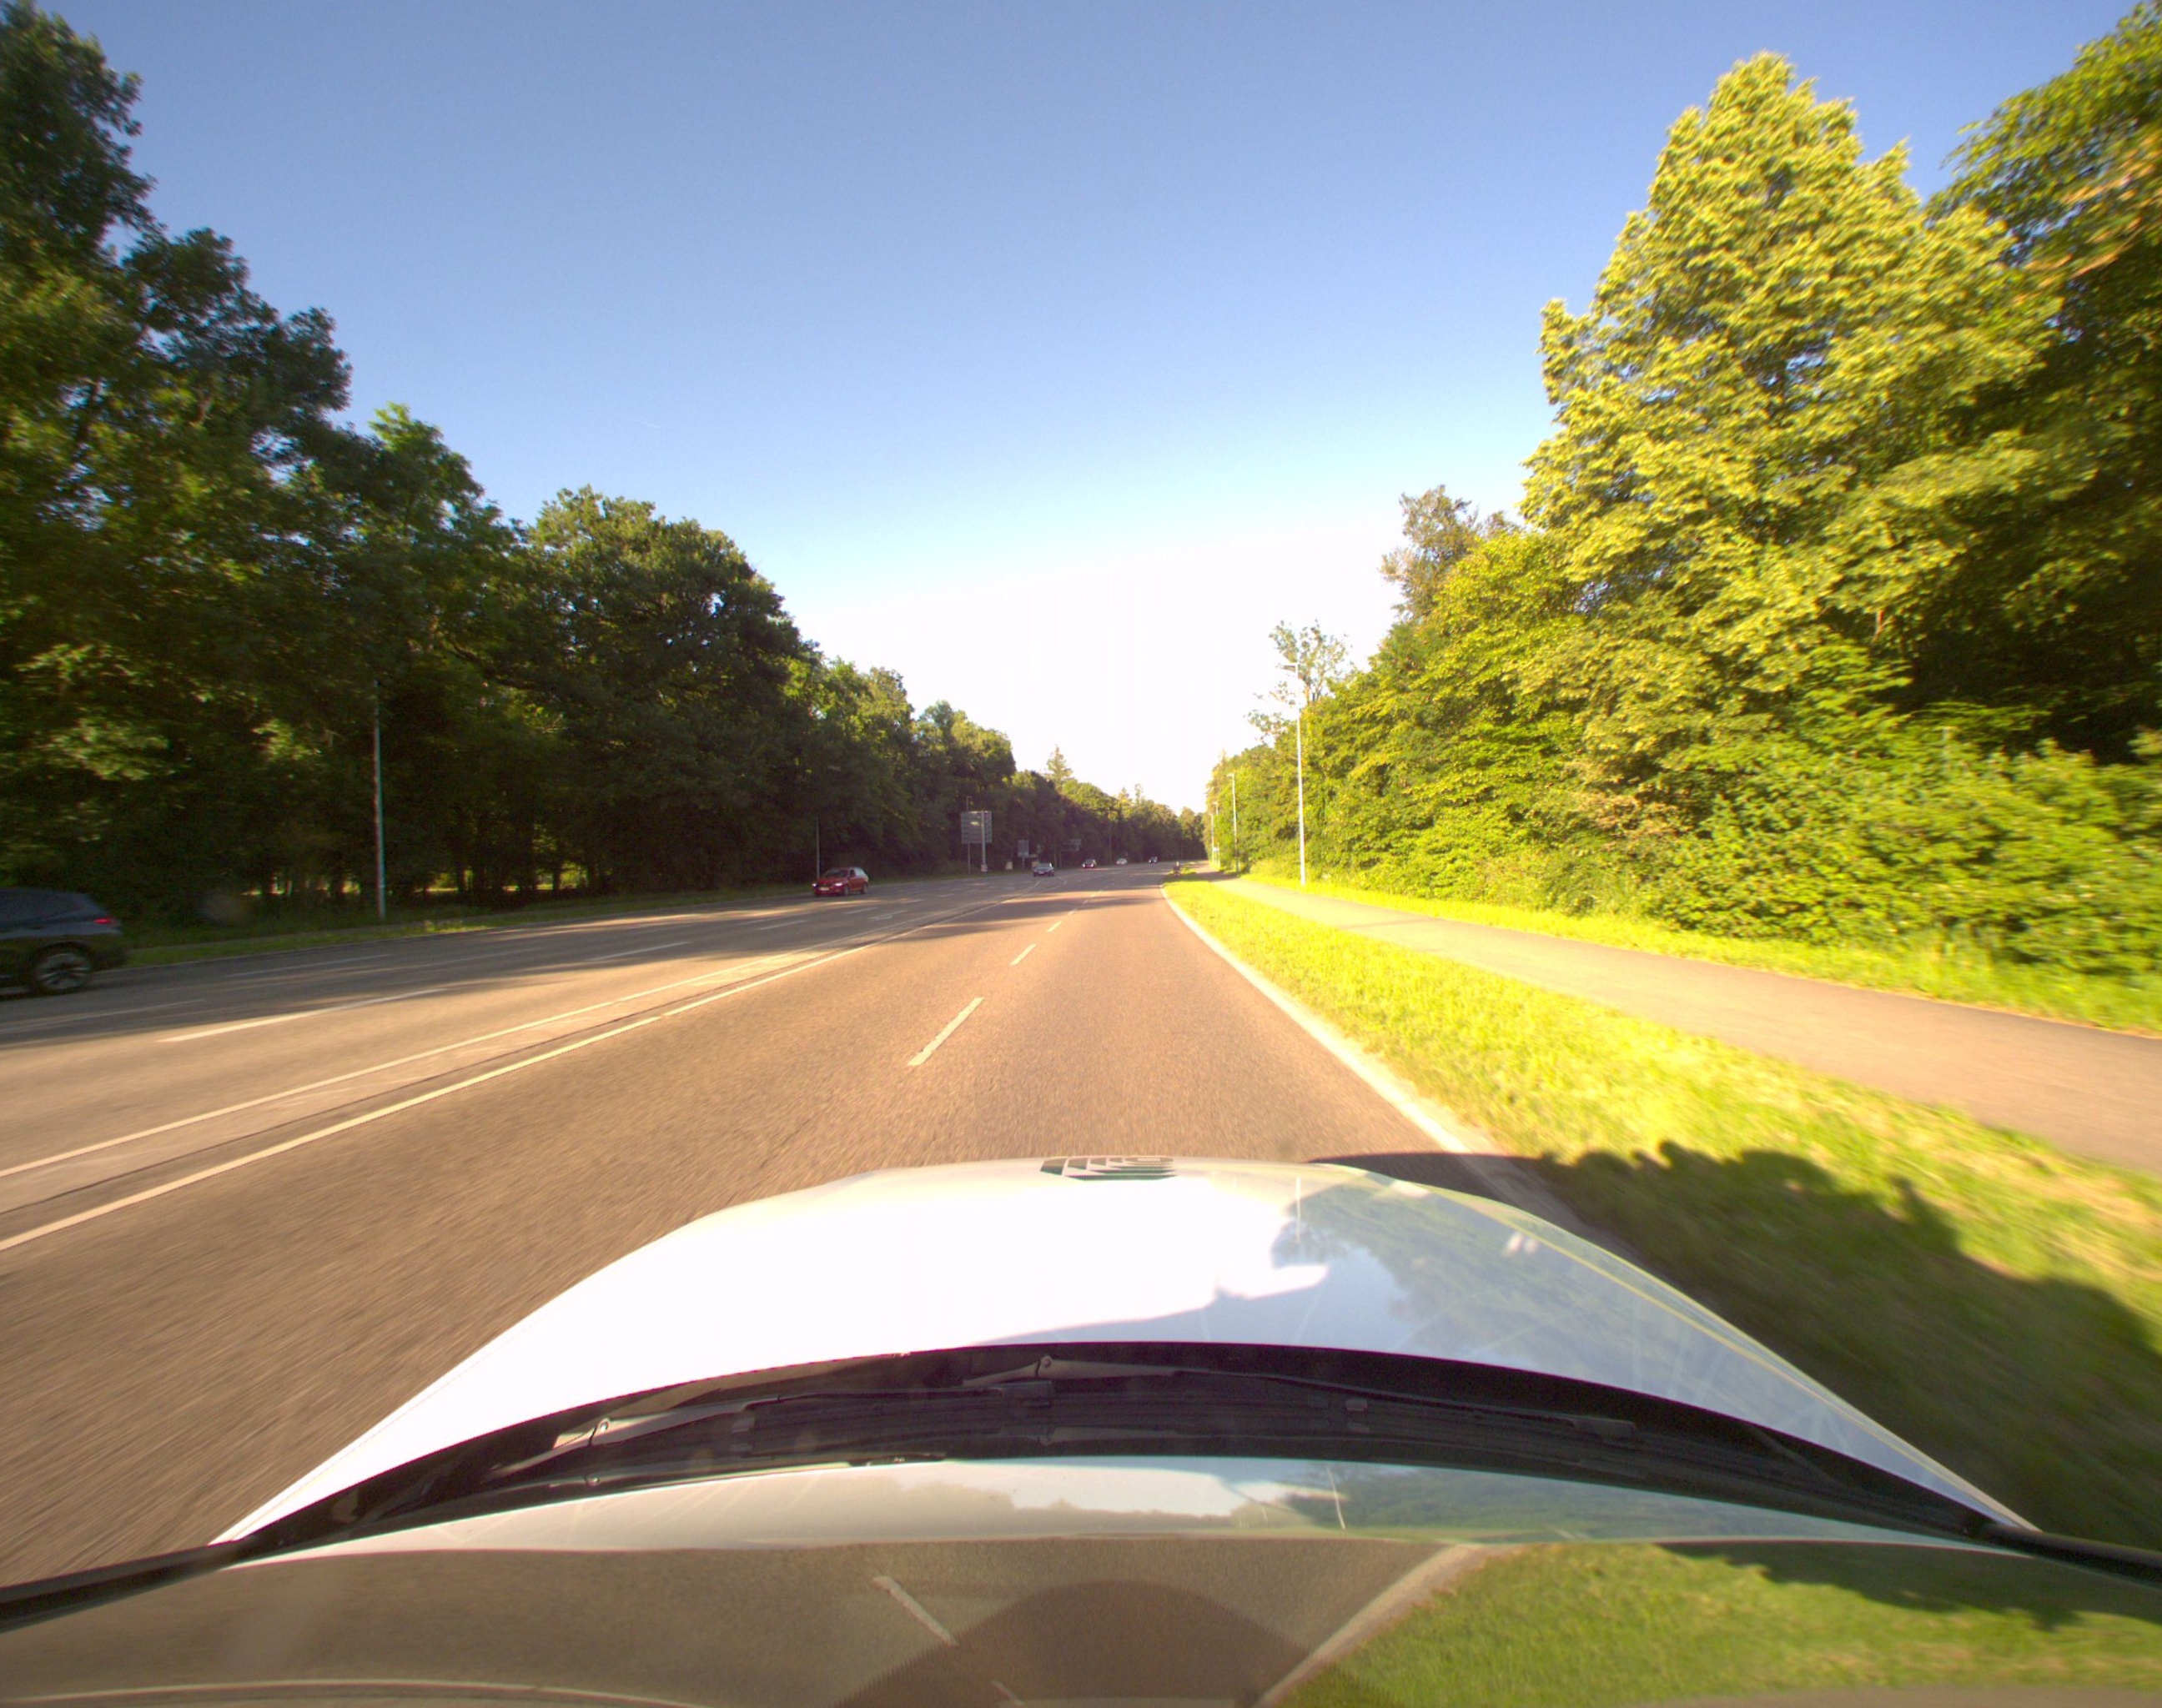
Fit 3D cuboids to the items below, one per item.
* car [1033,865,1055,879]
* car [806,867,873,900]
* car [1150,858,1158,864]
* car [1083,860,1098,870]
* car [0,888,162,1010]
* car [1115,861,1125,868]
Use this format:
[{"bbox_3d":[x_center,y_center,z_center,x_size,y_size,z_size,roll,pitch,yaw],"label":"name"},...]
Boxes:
[{"bbox_3d":[-3.660,1.797,81.505,1.736,1.234,4.677,-2,0,3],"label":"car"},{"bbox_3d":[-12.664,1.529,43.004,1.985,1.564,4.342,-2,0,3],"label":"car"},{"bbox_3d":[20.498,1.992,228.425,1.814,1.589,4.361,-1,0,8],"label":"car"},{"bbox_3d":[1.546,1.799,134.963,1.813,1.545,4.268,-1,0,10],"label":"car"},{"bbox_3d":[-16.247,1.402,11.040,1.986,1.637,4.845,-2,0,1],"label":"car"},{"bbox_3d":[8.460,2.285,175.412,1.814,1.504,4.316,-1,0,8],"label":"car"}]
